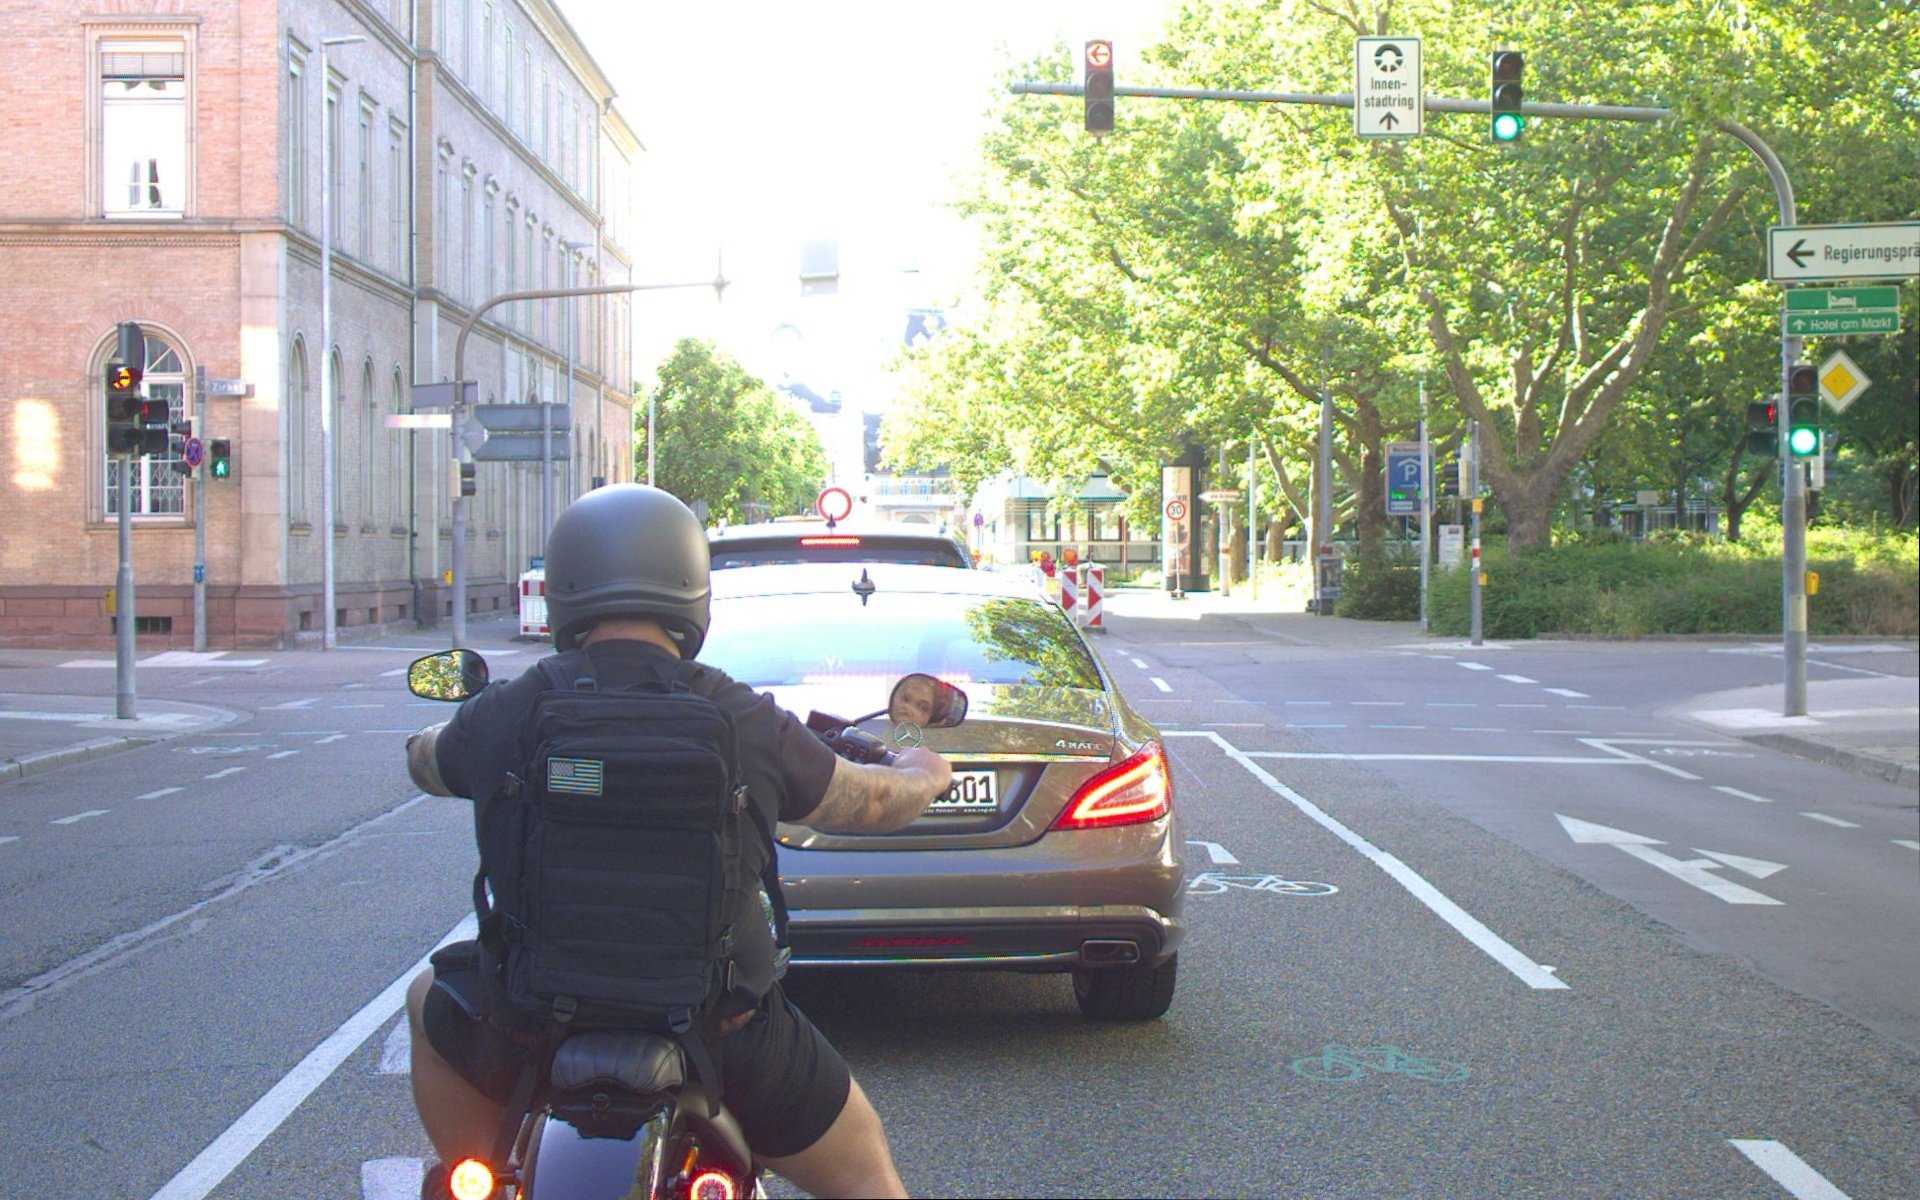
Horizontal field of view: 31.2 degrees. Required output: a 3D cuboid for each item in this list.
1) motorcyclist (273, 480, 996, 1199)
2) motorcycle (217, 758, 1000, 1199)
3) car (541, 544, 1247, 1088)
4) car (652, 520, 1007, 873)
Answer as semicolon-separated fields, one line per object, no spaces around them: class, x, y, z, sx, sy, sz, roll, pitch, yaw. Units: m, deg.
motorcyclist;-0.454;0.618;5.424;0.989;1.591;1.404;0;1;-1
motorcycle;-0.458;0.873;5.583;0.989;1.075;2.452;0;1;-1
car;-0.433;0.550;11.619;1.945;1.468;4.363;0;1;-7
car;-0.639;0.399;17.785;1.612;1.602;4.329;0;1;-1
